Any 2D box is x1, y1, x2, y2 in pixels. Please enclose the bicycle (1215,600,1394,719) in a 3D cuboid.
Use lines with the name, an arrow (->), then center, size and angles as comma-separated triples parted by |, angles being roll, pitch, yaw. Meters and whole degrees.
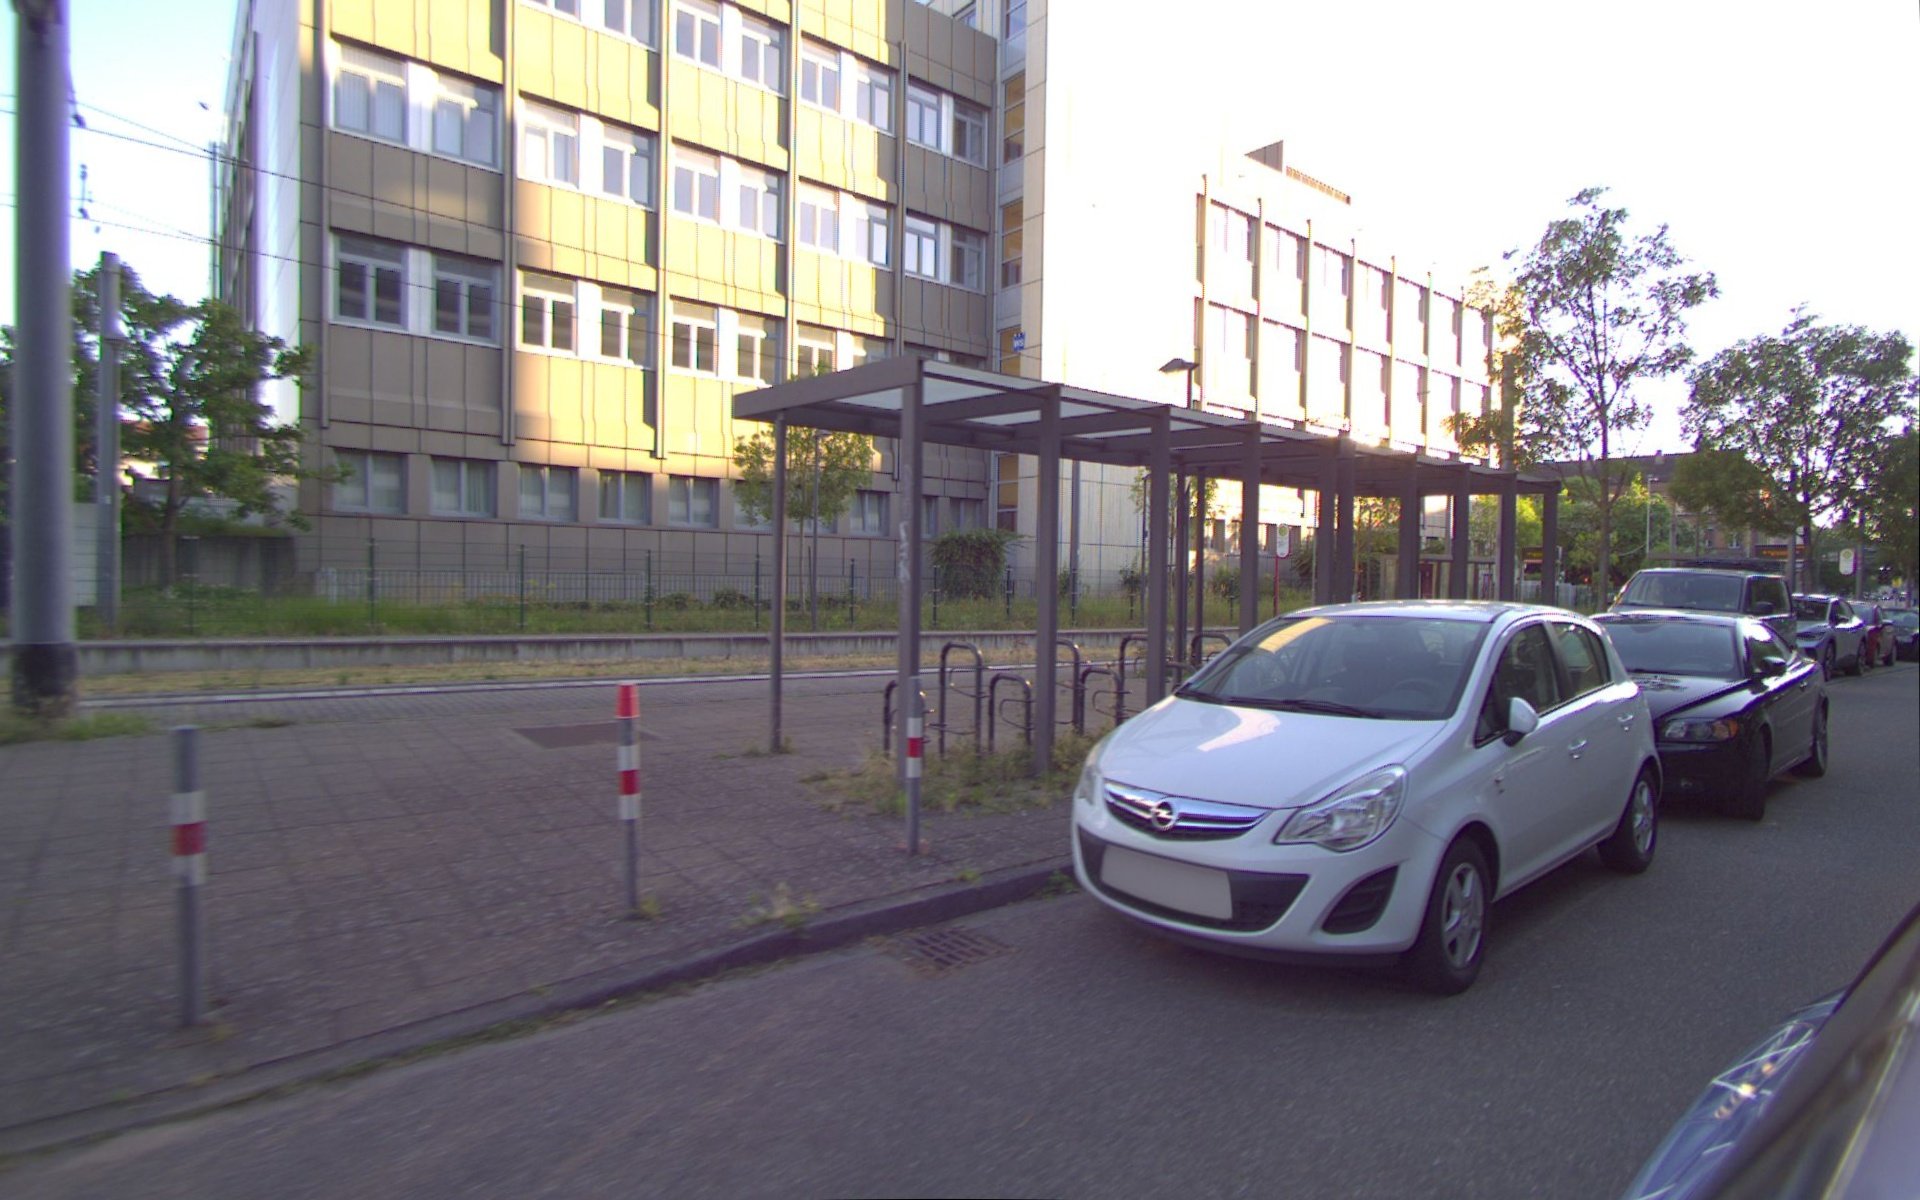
bicycle -> 3.611, 0.588, 10.766 | 0.479, 1.079, 1.810 | -1, 3, -39

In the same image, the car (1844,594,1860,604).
car -> 144.679, -0.138, 164.090 | 1.779, 1.475, 4.236 | 2, 2, 39

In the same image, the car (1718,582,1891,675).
car -> 16.956, 0.505, 20.249 | 4.397, 1.599, 1.713 | 0, 3, -38

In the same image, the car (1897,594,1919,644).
car -> 31.909, 0.650, 32.521 | 4.693, 1.514, 1.802 | 0, 4, -38

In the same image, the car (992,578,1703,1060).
car -> 2.226, 0.651, 5.125 | 4.116, 1.470, 1.678 | 0, 1, -42

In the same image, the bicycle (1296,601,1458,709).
bicycle -> 4.755, 0.589, 11.649 | 0.413, 1.079, 1.724 | -1, 3, -39

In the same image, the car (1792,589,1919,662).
car -> 21.595, 0.553, 24.309 | 4.057, 1.511, 1.712 | 0, 3, -40

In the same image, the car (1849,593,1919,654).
car -> 25.849, 0.605, 27.655 | 3.929, 1.469, 1.712 | 0, 3, -40

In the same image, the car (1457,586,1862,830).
car -> 5.938, 0.653, 8.355 | 4.438, 1.470, 1.790 | 0, 1, -42

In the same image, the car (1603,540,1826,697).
car -> 12.392, 0.219, 16.502 | 4.652, 2.203, 1.809 | 0, 3, -40

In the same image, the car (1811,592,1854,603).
car -> 127.490, -0.401, 148.007 | 4.684, 1.504, 1.880 | 2, 2, 40
